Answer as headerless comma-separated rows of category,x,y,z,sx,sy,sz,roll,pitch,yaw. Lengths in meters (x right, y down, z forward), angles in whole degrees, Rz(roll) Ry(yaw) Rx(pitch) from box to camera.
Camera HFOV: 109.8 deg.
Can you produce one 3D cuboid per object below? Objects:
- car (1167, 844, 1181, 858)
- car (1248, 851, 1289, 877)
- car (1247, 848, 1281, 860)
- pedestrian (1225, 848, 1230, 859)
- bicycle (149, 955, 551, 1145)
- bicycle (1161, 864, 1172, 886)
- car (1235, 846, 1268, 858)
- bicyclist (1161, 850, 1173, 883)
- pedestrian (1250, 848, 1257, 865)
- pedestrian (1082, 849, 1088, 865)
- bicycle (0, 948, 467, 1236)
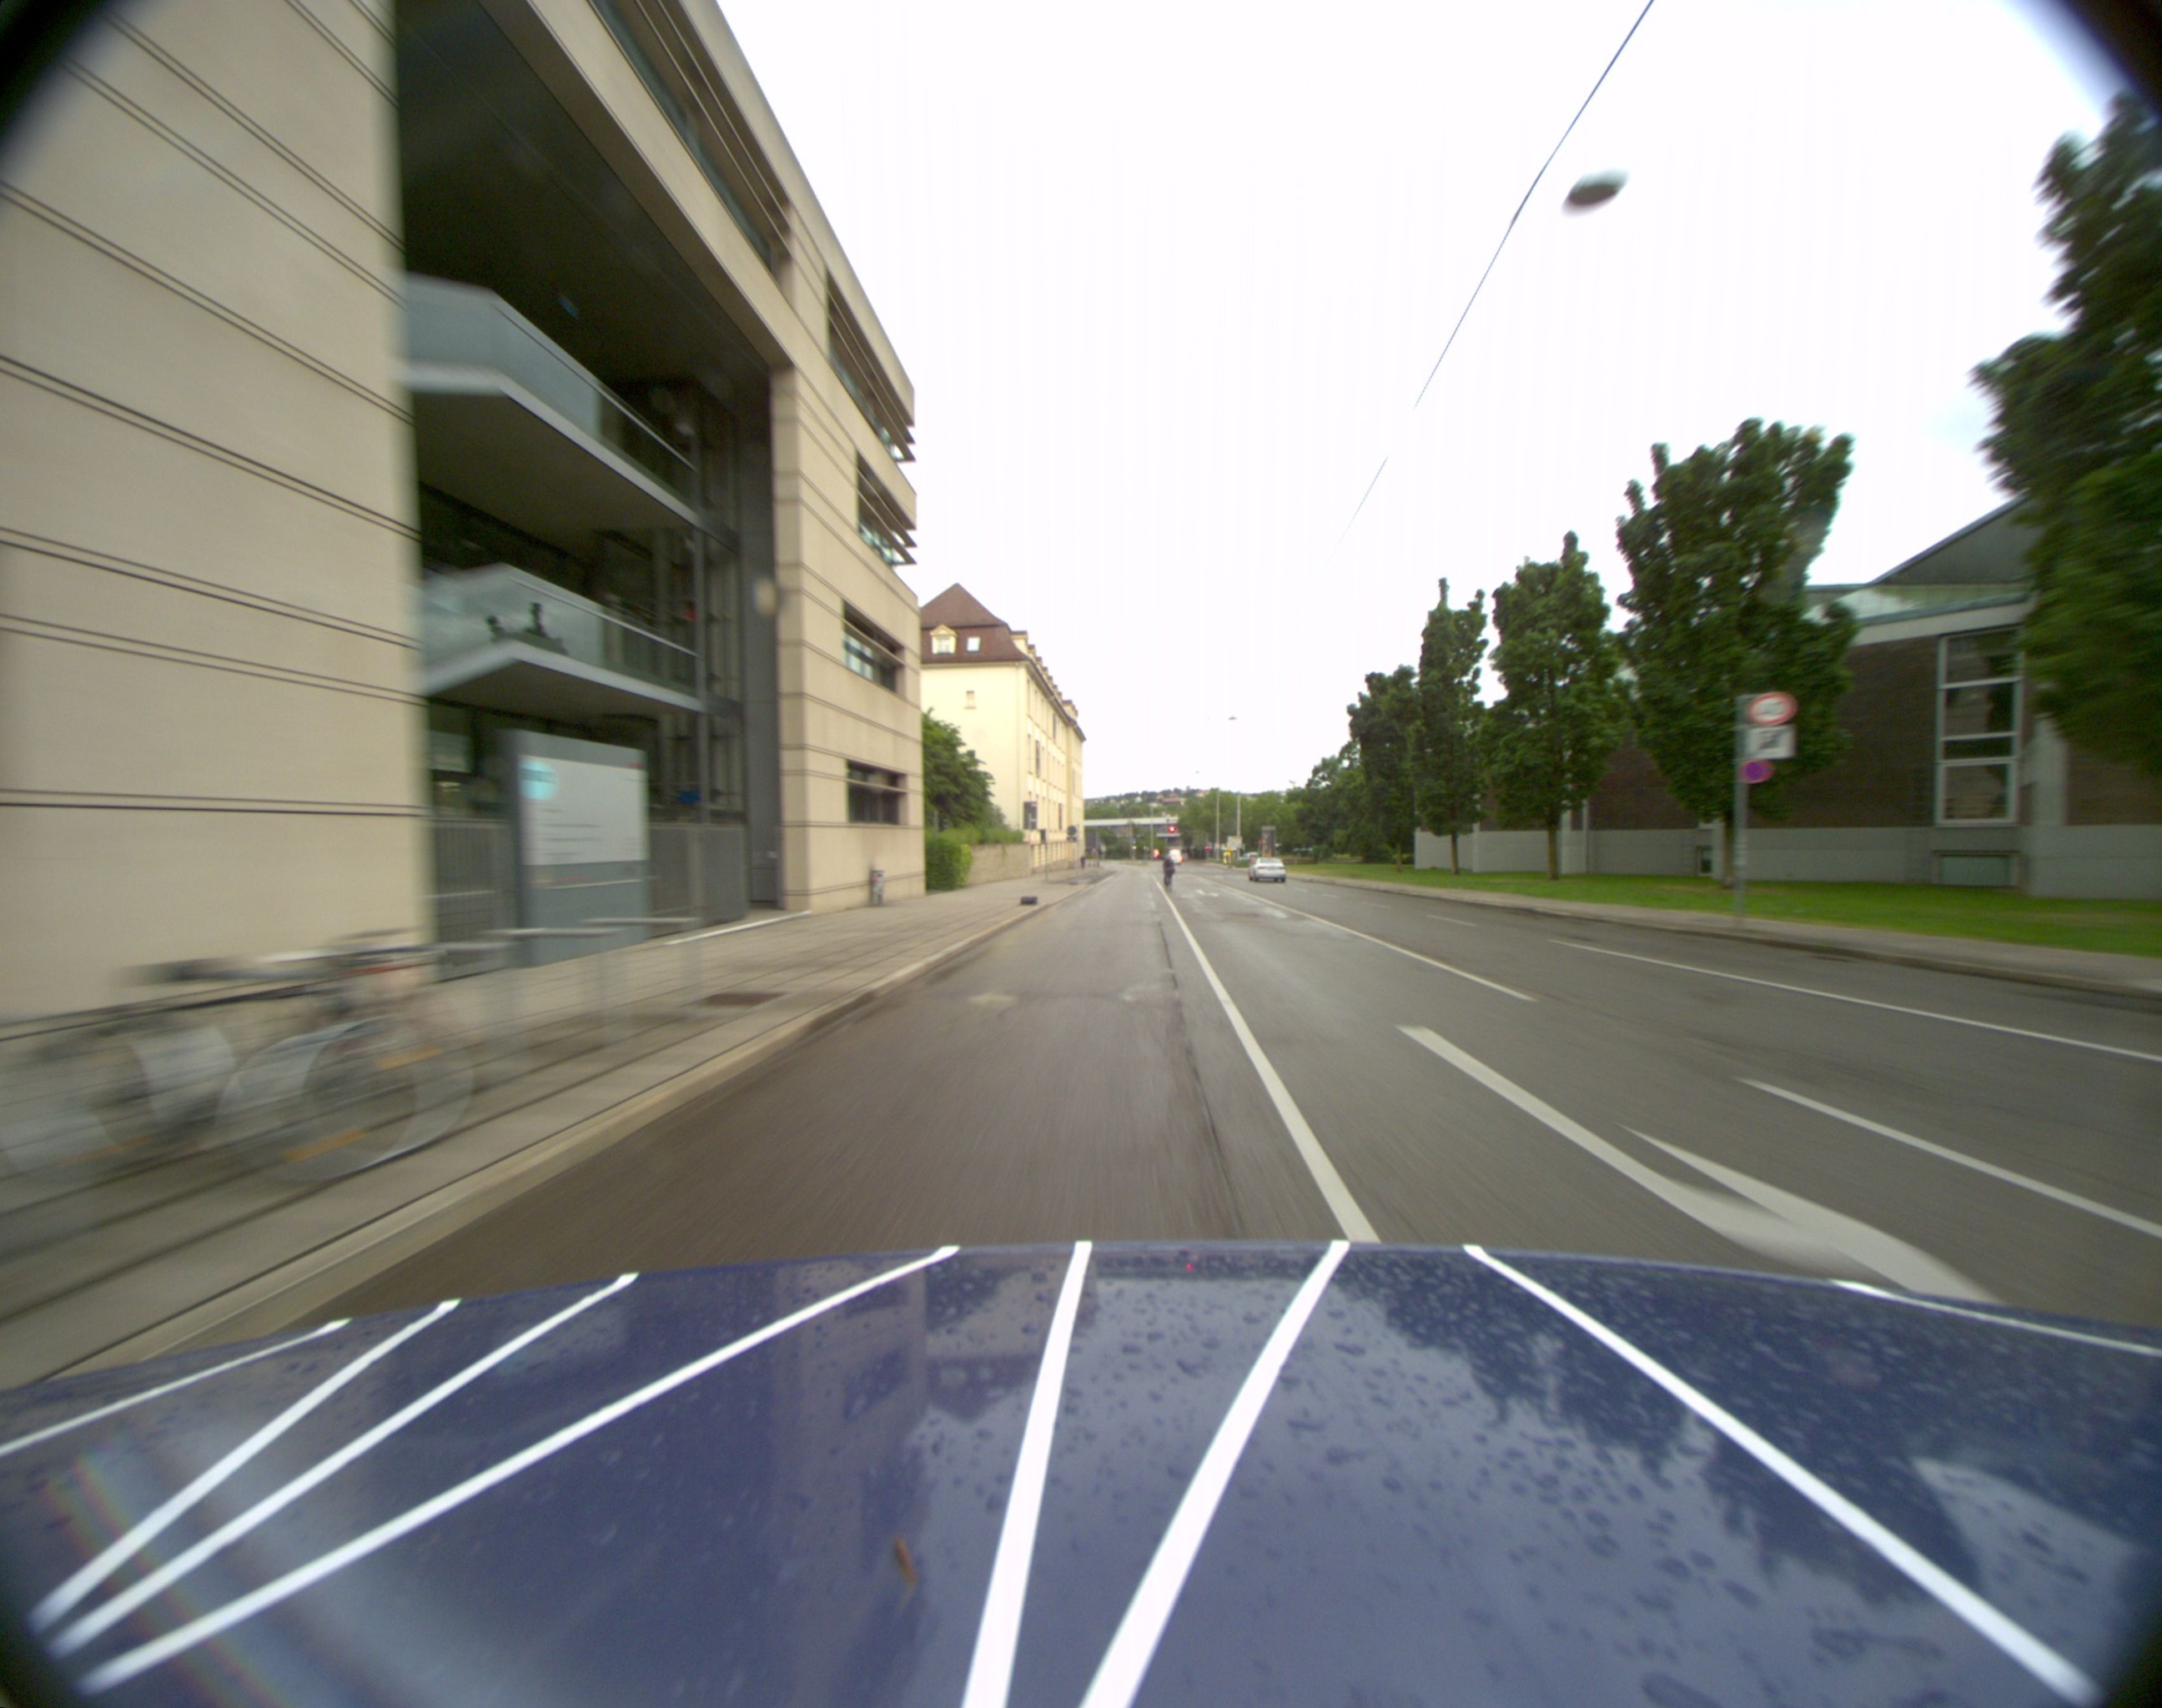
car,16.427,-0.562,134.038,1.987,2.514,5.632,0,0,3
car,11.865,0.596,48.405,1.885,1.482,5.222,1,1,7
car,24.780,0.020,103.005,1.871,1.600,4.516,-3,1,-29
pedestrian,22.629,-0.127,117.099,0.629,1.686,0.642,-2,2,-3
bicycle,-4.303,1.140,4.559,1.763,0.947,0.659,-1,1,2
bicycle,3.869,0.931,34.210,0.448,0.957,1.691,-1,0,7
car,26.808,-0.318,119.737,2.020,1.745,4.710,-3,1,-44
bicyclist,3.889,0.565,34.157,0.485,1.425,0.930,-2,2,7
pedestrian,18.263,0.252,80.551,0.671,1.677,0.914,-1,2,12
pedestrian,0.482,0.318,87.523,0.671,1.787,0.852,0,1,6
bicycle,-4.031,1.053,3.550,1.734,1.112,0.659,-1,2,-1
